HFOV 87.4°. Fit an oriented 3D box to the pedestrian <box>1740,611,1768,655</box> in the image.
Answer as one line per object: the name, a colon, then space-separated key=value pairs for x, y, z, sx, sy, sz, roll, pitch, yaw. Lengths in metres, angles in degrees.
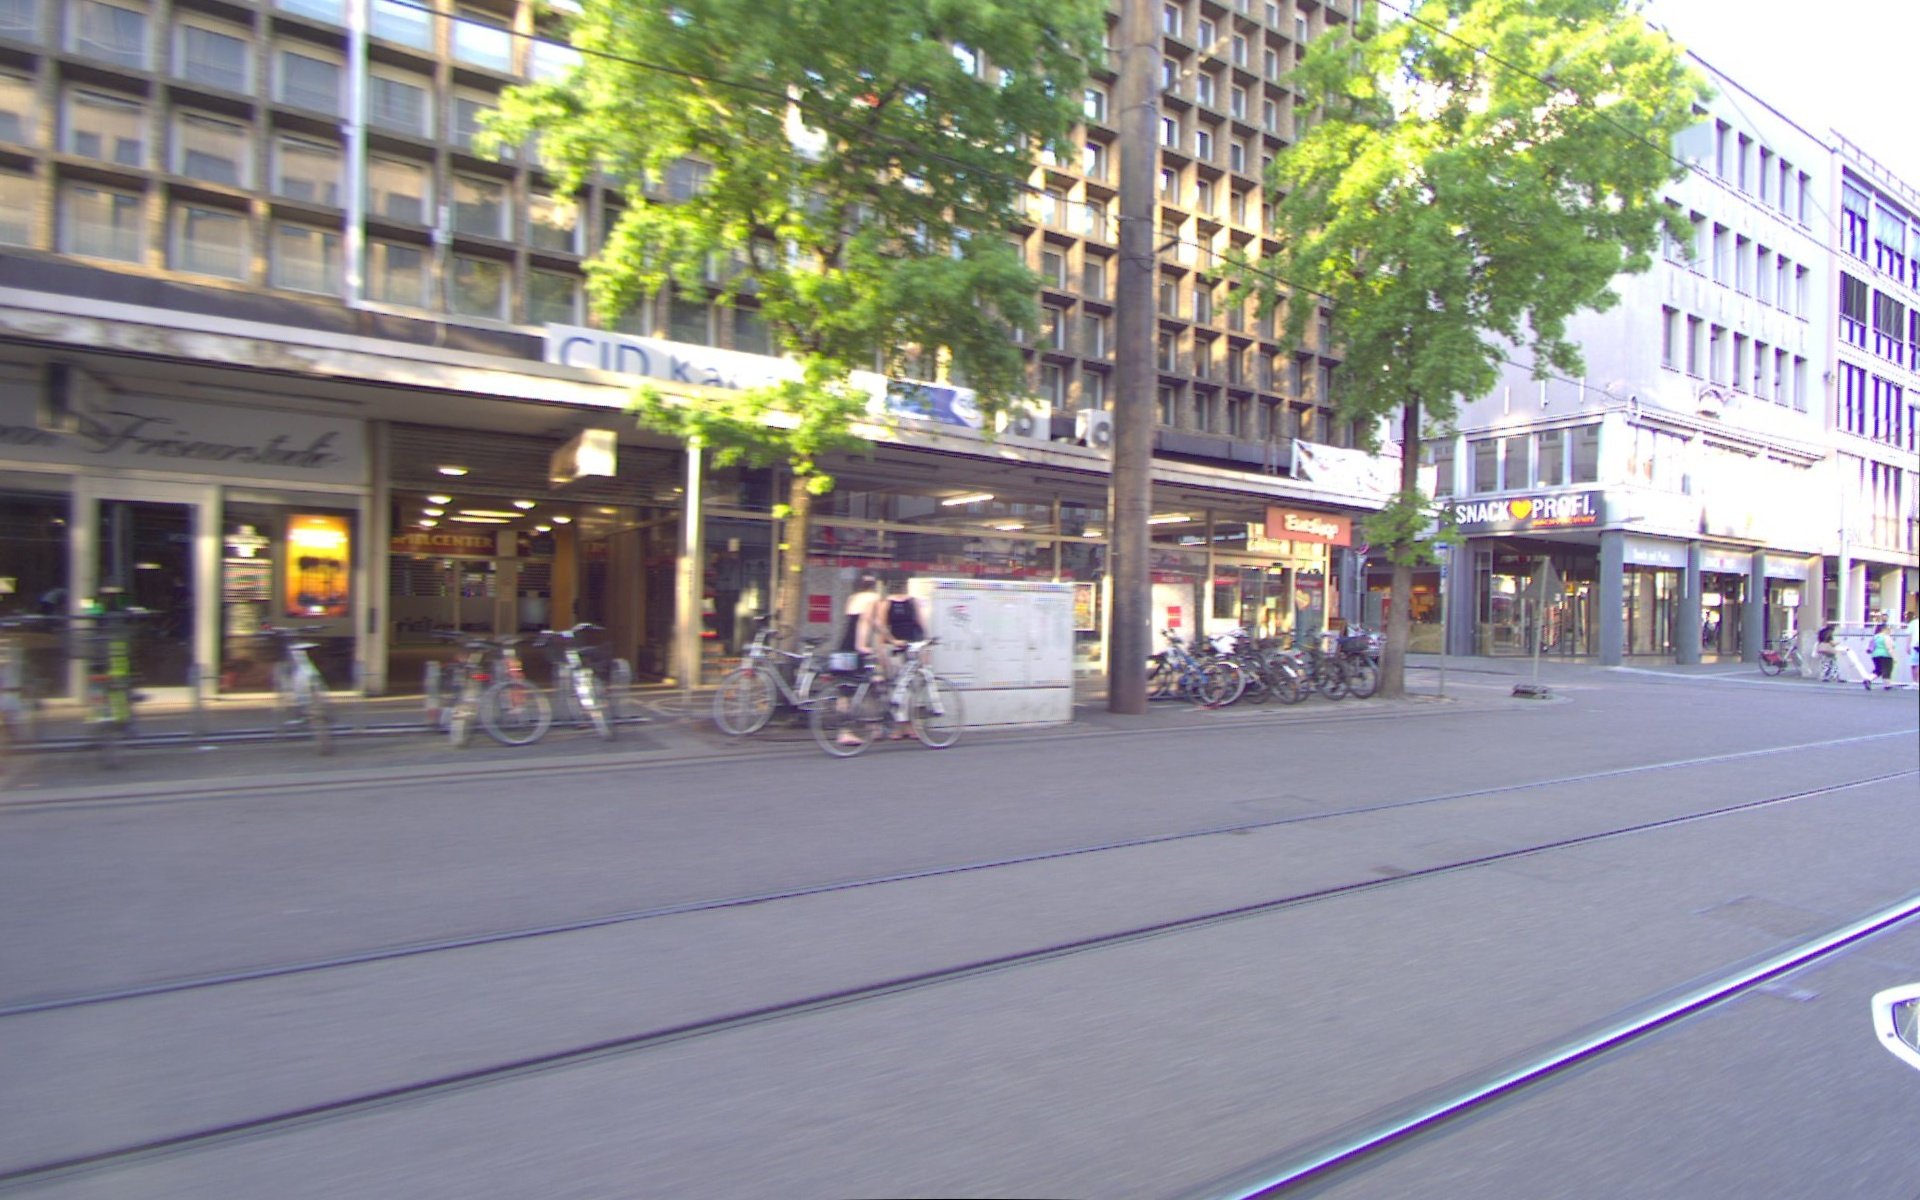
pedestrian: x=32.175 y=1.319 z=40.699 sx=0.702 sy=1.748 sz=0.709 roll=2 pitch=-1 yaw=-33

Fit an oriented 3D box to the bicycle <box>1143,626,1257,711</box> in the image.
bicycle: x=3.435 y=0.951 z=14.535 sx=0.484 sy=1.059 sz=1.762 roll=0 pitch=1 yaw=-31

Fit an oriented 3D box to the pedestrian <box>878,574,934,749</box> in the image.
pedestrian: x=-0.544 y=0.609 z=10.203 sx=0.525 sy=1.722 sz=0.603 roll=1 pitch=1 yaw=-3

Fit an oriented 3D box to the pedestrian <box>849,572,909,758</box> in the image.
pedestrian: x=-0.767 y=0.600 z=9.618 sx=0.525 sy=1.722 sz=0.603 roll=1 pitch=1 yaw=-3

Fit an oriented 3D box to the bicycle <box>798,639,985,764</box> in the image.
bicycle: x=-0.621 y=0.915 z=9.497 sx=1.760 sy=1.059 sz=0.484 roll=1 pitch=1 yaw=-35

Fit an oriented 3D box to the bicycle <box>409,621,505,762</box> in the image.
bicycle: x=-4.673 y=0.788 z=9.284 sx=0.485 sy=1.085 sz=1.759 roll=0 pitch=2 yaw=-37

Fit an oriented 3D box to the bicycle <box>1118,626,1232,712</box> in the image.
bicycle: x=3.023 y=0.939 z=14.277 sx=0.484 sy=1.059 sz=1.762 roll=0 pitch=1 yaw=-31

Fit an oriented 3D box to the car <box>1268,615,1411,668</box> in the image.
car: x=12.285 y=1.312 z=32.731 sx=1.782 sy=1.530 sz=4.094 roll=2 pitch=-1 yaw=-34

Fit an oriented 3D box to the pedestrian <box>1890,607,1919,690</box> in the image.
pedestrian: x=22.761 y=1.161 z=23.946 sx=0.704 sy=1.951 sz=0.766 roll=2 pitch=-1 yaw=-40

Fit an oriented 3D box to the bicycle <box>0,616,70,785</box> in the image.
bicycle: x=-7.188 y=0.710 z=7.638 sx=0.485 sy=1.085 sz=1.759 roll=0 pitch=2 yaw=-37

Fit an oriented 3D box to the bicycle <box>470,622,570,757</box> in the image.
bicycle: x=-4.247 y=0.802 z=9.620 sx=0.485 sy=1.085 sz=1.759 roll=0 pitch=2 yaw=-37

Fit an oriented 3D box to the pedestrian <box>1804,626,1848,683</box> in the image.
pedestrian: x=22.685 y=1.407 z=26.314 sx=0.671 sy=1.453 sz=0.556 roll=1 pitch=-1 yaw=6

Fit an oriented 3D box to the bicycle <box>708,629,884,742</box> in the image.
bicycle: x=-1.674 y=0.850 z=10.427 sx=1.760 sy=1.059 sz=0.484 roll=1 pitch=1 yaw=-35

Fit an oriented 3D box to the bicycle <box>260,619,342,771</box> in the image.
bicycle: x=-5.707 y=0.756 z=8.664 sx=0.485 sy=1.085 sz=1.759 roll=0 pitch=2 yaw=-37

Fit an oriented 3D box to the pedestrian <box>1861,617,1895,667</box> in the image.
pedestrian: x=32.412 y=1.485 z=35.461 sx=0.702 sy=1.748 sz=0.709 roll=2 pitch=-1 yaw=-33

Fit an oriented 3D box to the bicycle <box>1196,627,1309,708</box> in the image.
bicycle: x=4.383 y=0.981 z=15.163 sx=0.484 sy=1.059 sz=1.762 roll=0 pitch=1 yaw=-31

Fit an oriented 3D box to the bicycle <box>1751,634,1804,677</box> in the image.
bicycle: x=23.045 y=1.547 z=28.300 sx=1.777 sy=1.122 sz=0.497 roll=0 pitch=0 yaw=-27

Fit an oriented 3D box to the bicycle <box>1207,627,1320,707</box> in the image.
bicycle: x=4.587 y=0.988 z=15.290 sx=0.484 sy=1.059 sz=1.762 roll=0 pitch=1 yaw=-31

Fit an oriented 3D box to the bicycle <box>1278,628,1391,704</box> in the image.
bicycle: x=5.975 y=1.031 z=16.130 sx=0.484 sy=1.059 sz=1.762 roll=0 pitch=1 yaw=-31

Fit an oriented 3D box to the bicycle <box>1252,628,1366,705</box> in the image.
bicycle: x=5.472 y=1.015 z=15.853 sx=0.484 sy=1.059 sz=1.762 roll=0 pitch=1 yaw=-31

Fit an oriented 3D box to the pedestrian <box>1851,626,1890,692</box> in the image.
pedestrian: x=21.423 y=1.377 z=23.622 sx=0.551 sy=1.513 sz=0.598 roll=2 pitch=-1 yaw=-40

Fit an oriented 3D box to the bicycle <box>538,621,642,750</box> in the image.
bicycle: x=-3.697 y=0.793 z=9.958 sx=0.485 sy=1.085 sz=1.759 roll=0 pitch=2 yaw=-37

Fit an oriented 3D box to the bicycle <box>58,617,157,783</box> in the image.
bicycle: x=-6.716 y=0.724 z=7.962 sx=0.485 sy=1.085 sz=1.759 roll=0 pitch=2 yaw=-37

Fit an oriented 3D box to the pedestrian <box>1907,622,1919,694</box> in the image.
pedestrian: x=21.397 y=1.286 z=22.138 sx=0.600 sy=1.562 sz=0.679 roll=2 pitch=-1 yaw=-37

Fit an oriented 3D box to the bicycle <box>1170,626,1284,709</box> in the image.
bicycle: x=3.913 y=0.966 z=14.836 sx=0.484 sy=1.059 sz=1.762 roll=0 pitch=1 yaw=-31
